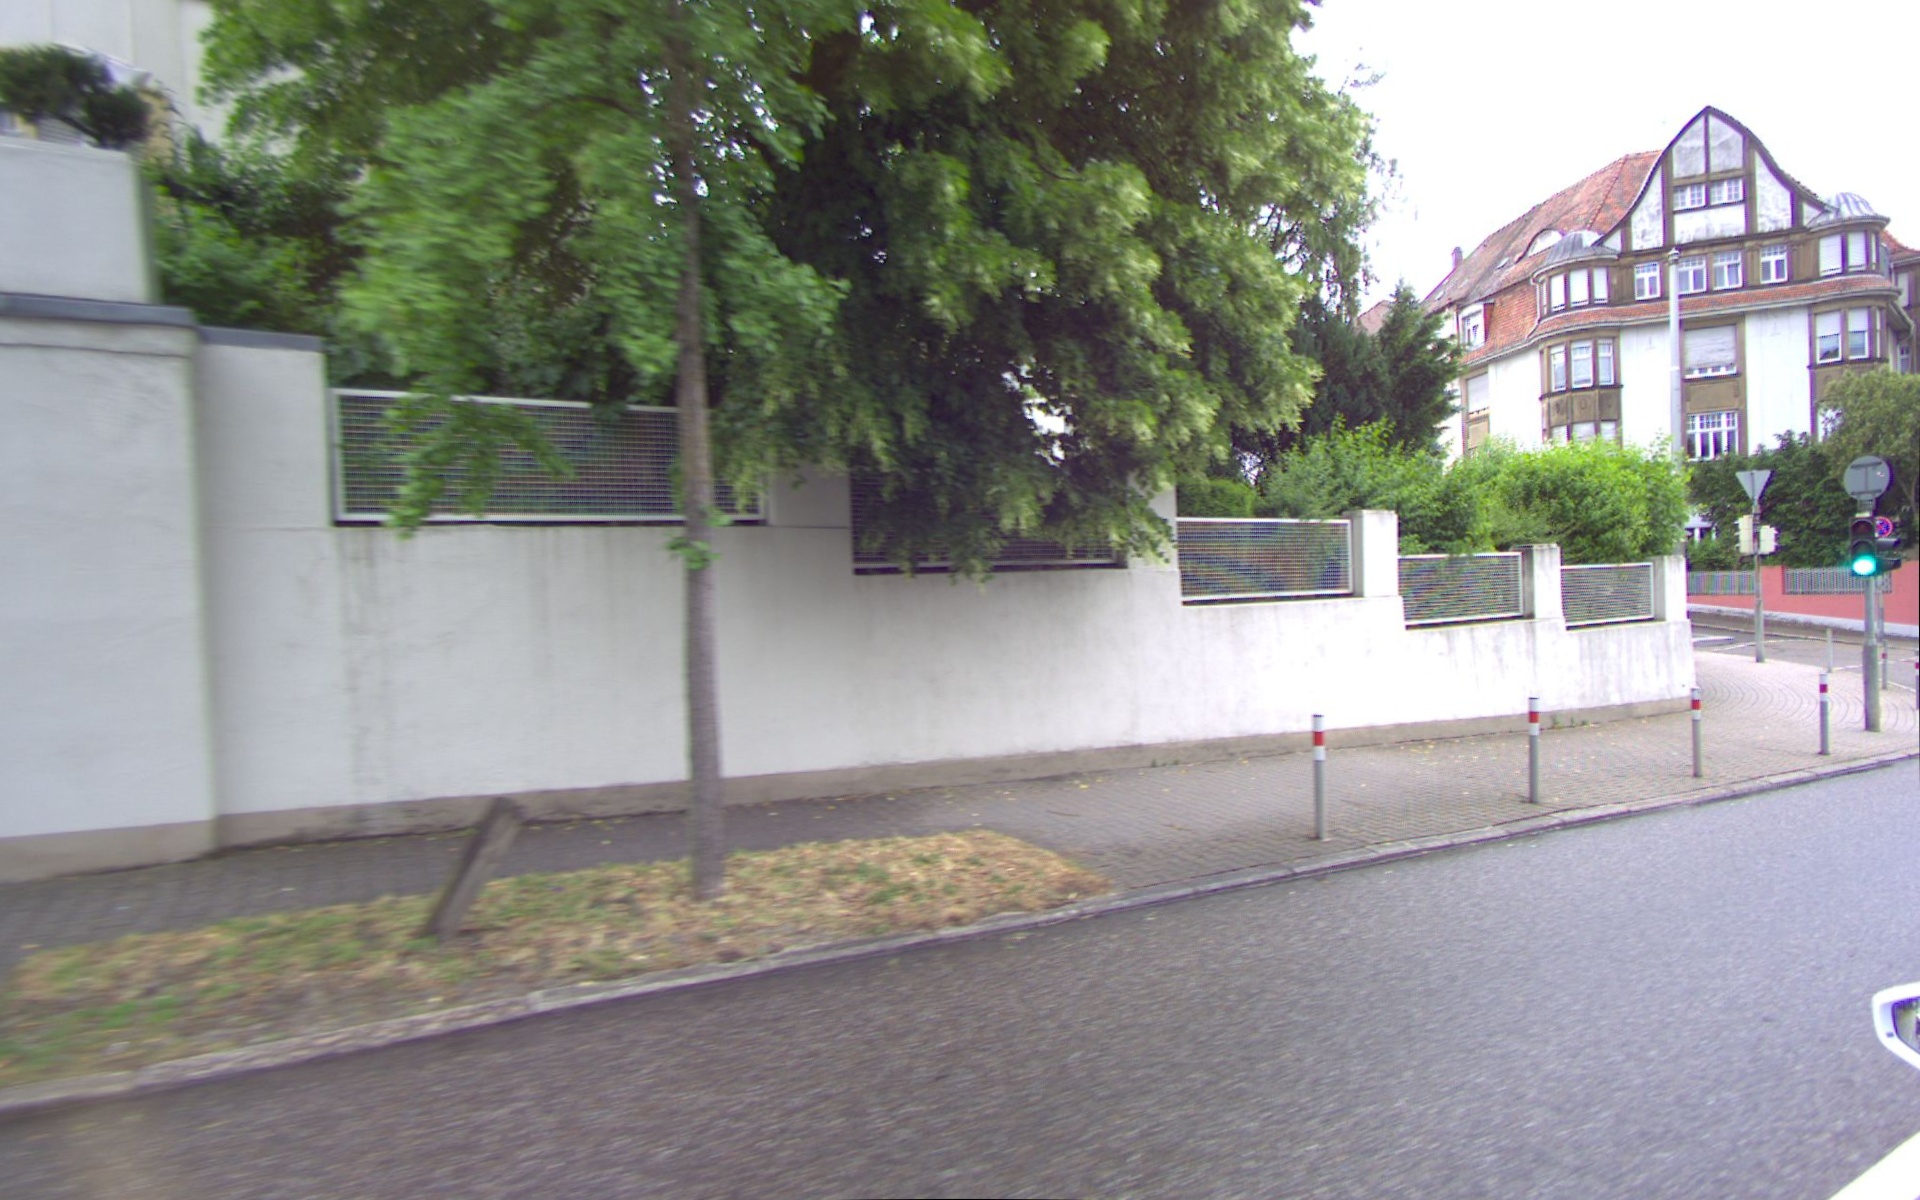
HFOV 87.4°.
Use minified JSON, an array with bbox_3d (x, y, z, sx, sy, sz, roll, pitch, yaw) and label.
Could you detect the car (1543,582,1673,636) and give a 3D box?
[{"bbox_3d":[20.504,0.233,31.925,1.641,1.458,3.359,-4,3,-9],"label":"car"}]
